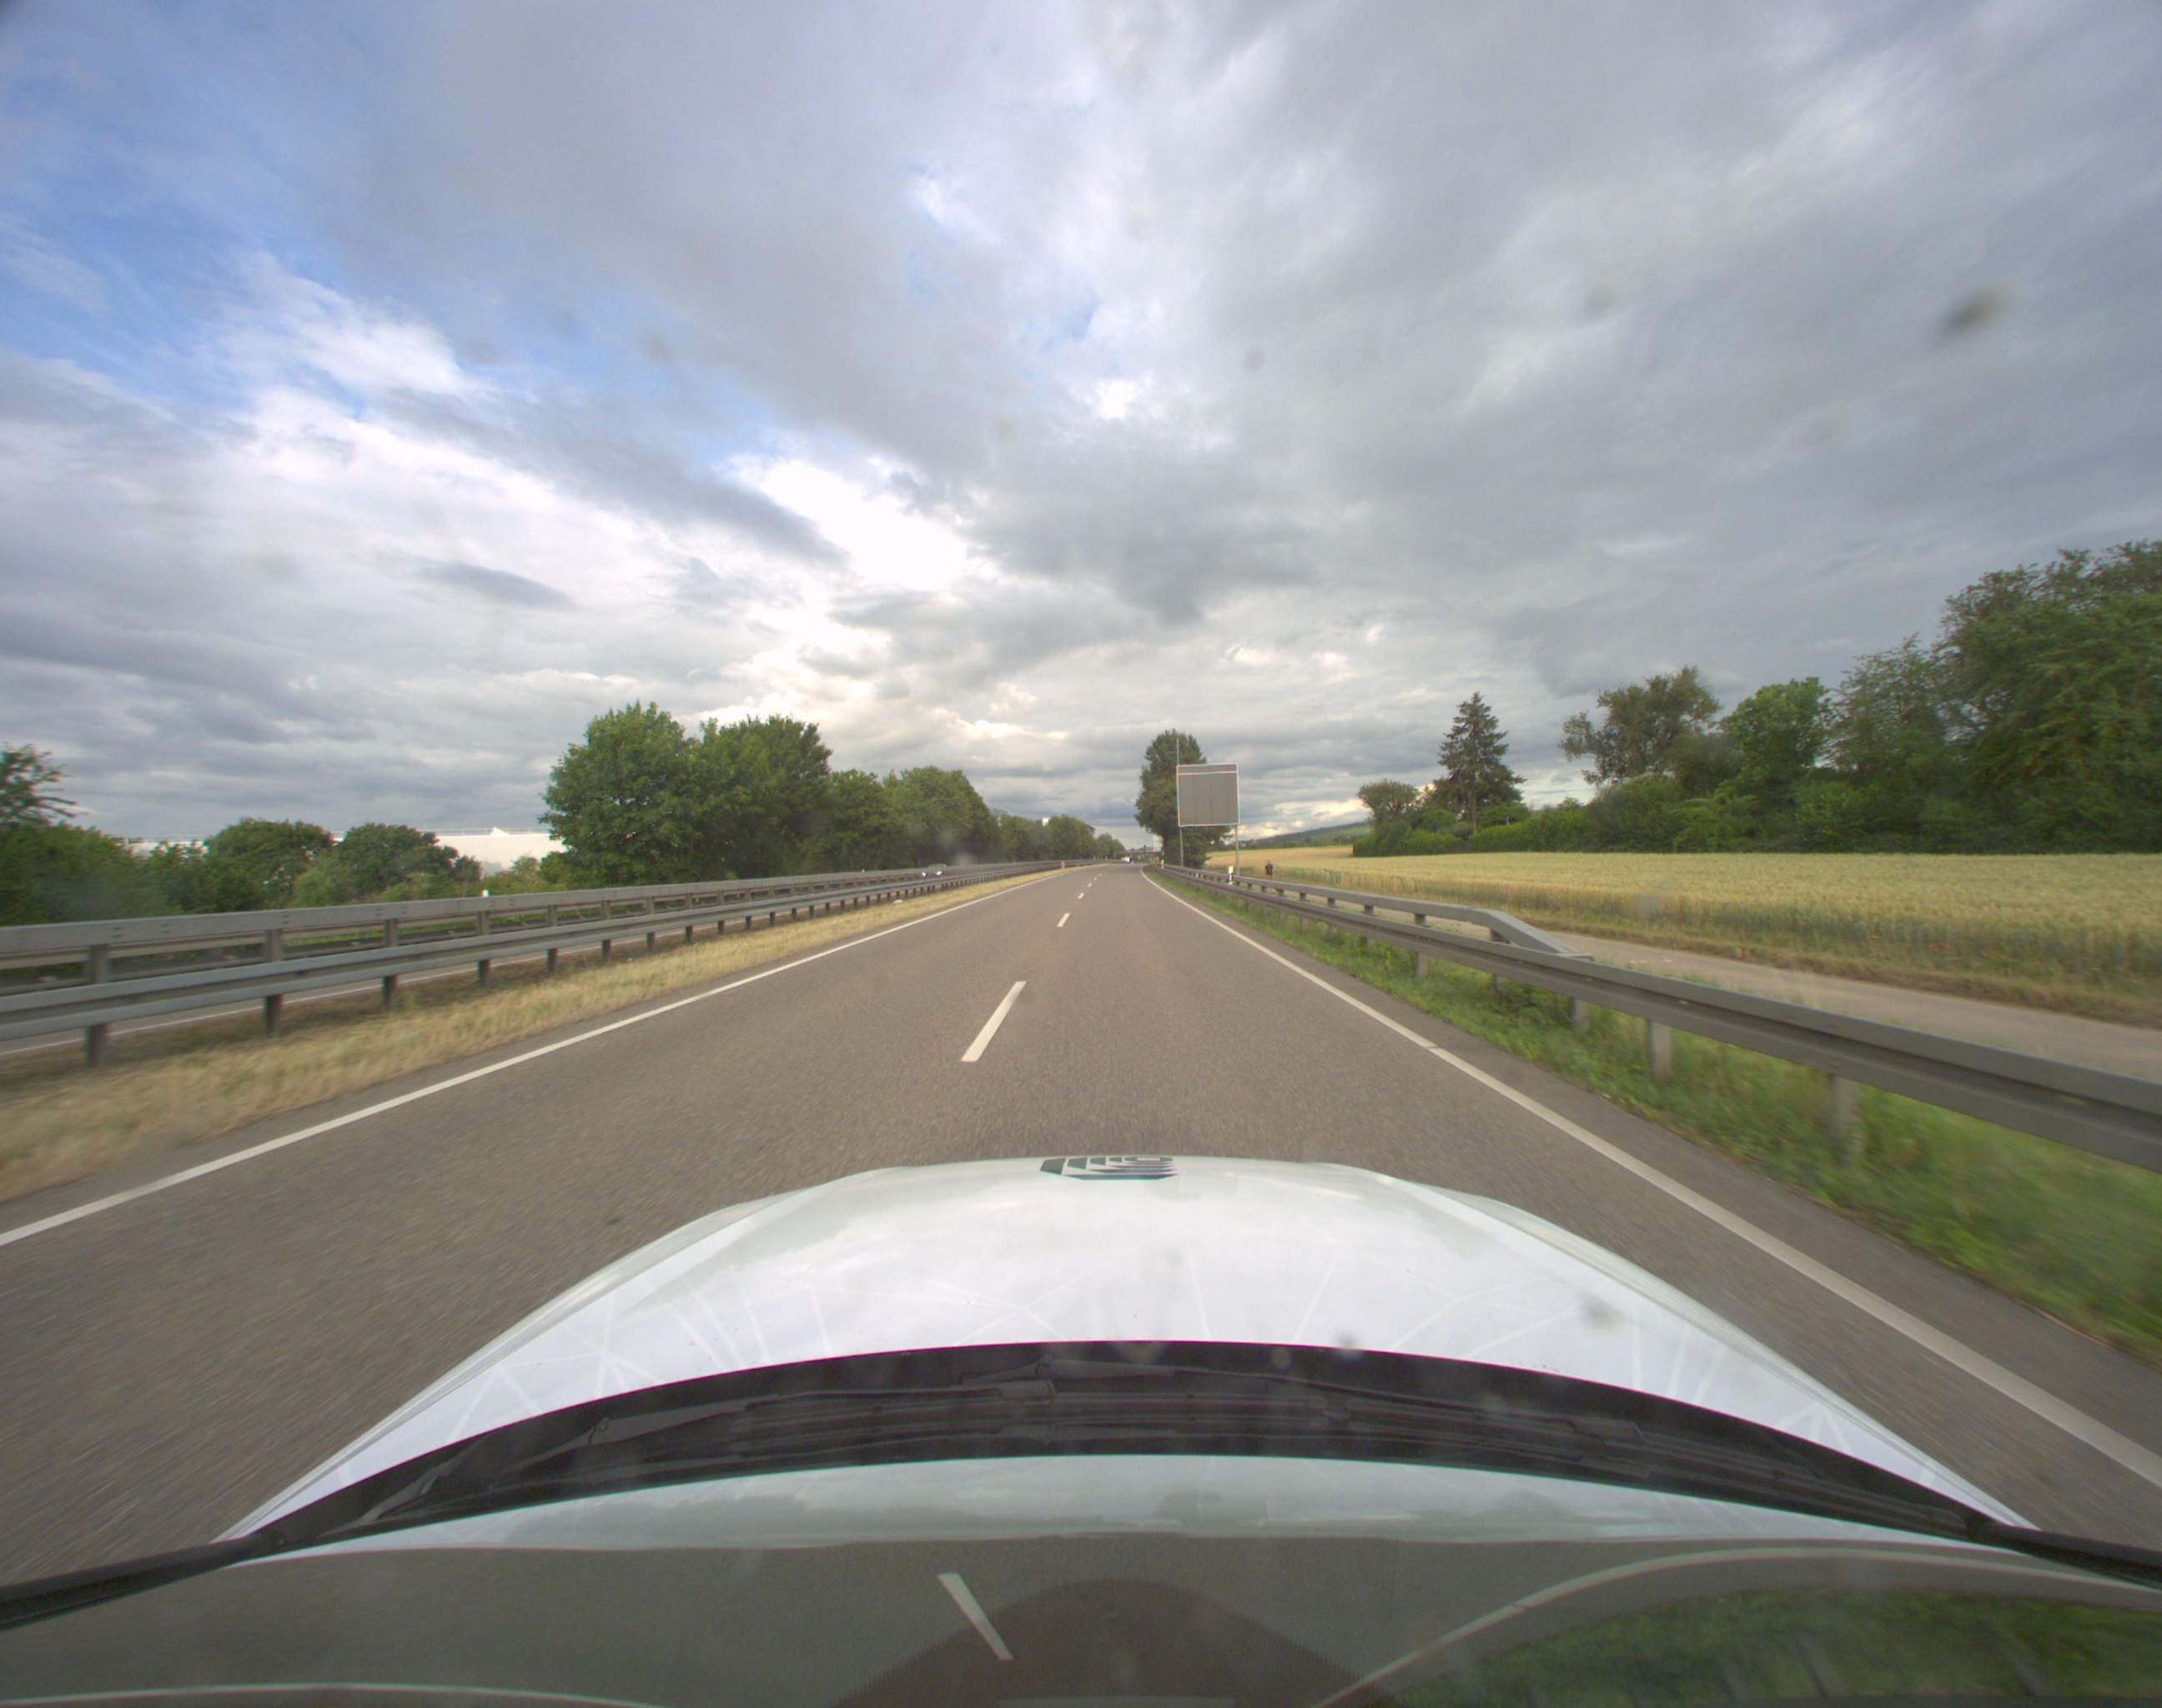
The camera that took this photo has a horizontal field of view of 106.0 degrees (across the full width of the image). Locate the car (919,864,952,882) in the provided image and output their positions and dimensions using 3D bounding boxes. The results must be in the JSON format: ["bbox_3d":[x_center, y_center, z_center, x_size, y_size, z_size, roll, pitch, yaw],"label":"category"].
[{"bbox_3d":[-12.152,1.569,68.220,1.774,1.352,4.578,-2,0,2],"label":"car"}]

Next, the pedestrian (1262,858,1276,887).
[{"bbox_3d":[12.547,1.233,54.321,0.768,1.868,0.940,0,-1,2],"label":"pedestrian"}]

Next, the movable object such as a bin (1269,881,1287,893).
[{"bbox_3d":[11.000,1.853,45.461,0.729,0.645,1.236,0,-1,2],"label":"movable object such as a bin"}]
